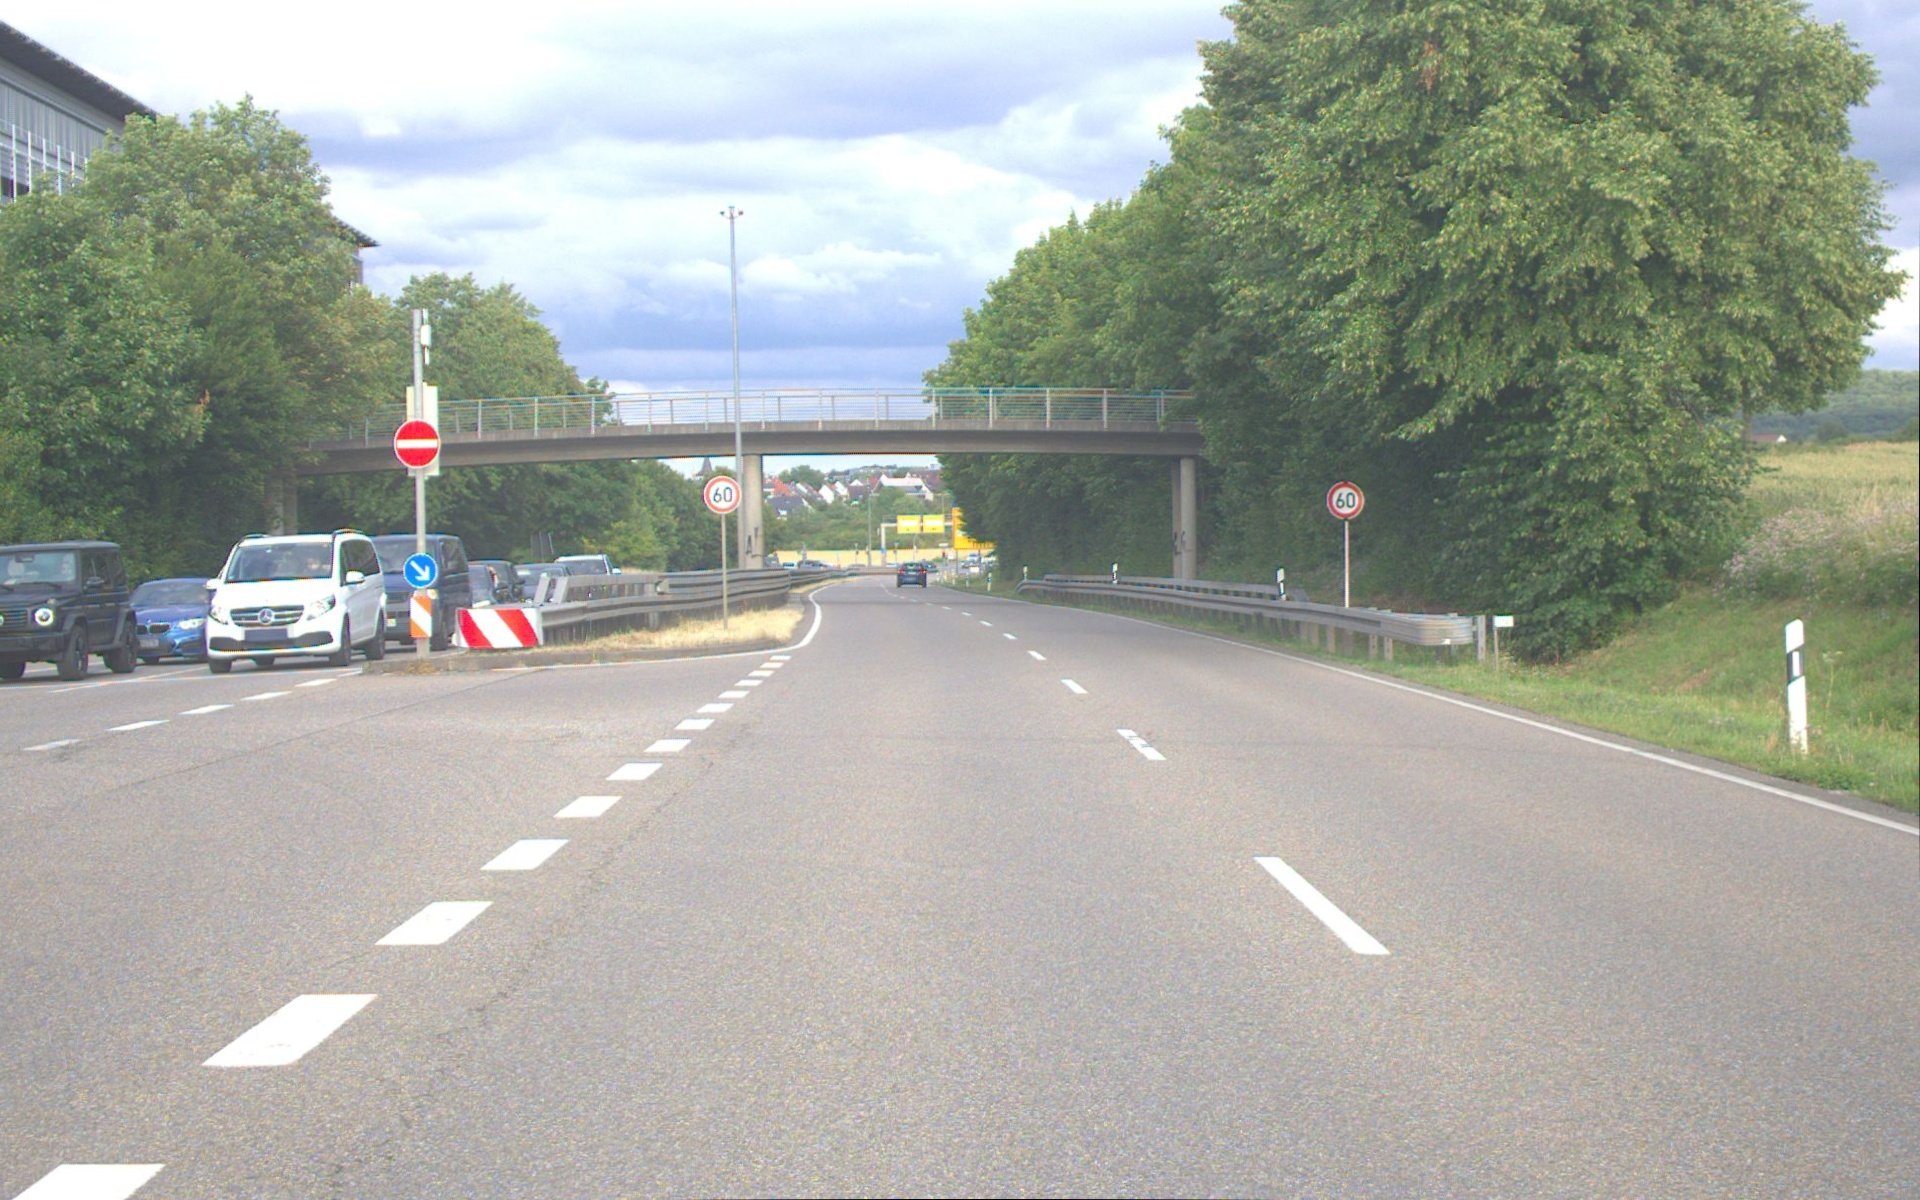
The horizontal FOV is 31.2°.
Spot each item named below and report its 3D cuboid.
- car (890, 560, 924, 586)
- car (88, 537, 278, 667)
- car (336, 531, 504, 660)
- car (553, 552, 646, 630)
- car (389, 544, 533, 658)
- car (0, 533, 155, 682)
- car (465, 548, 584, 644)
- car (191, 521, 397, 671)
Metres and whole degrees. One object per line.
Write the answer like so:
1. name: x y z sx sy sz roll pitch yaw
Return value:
1. car: -3.262 -1.651 210.175 1.879 1.547 4.001 1 0 -4
2. car: -12.746 0.006 56.737 2.083 2.007 5.217 1 0 -2
3. car: -8.902 -0.096 57.082 2.083 2.007 5.217 1 0 -2
4. car: -9.656 -0.261 92.436 2.083 2.007 5.217 1 0 -2
5. car: -9.322 -0.005 64.650 2.083 2.007 5.217 1 0 -2
6. car: -13.115 0.068 49.236 2.083 2.007 5.217 1 0 -2
7. car: -9.537 -0.108 75.629 2.083 2.007 5.217 1 0 -2
8. car: -9.481 -0.079 49.346 2.083 2.007 5.217 1 0 -2
